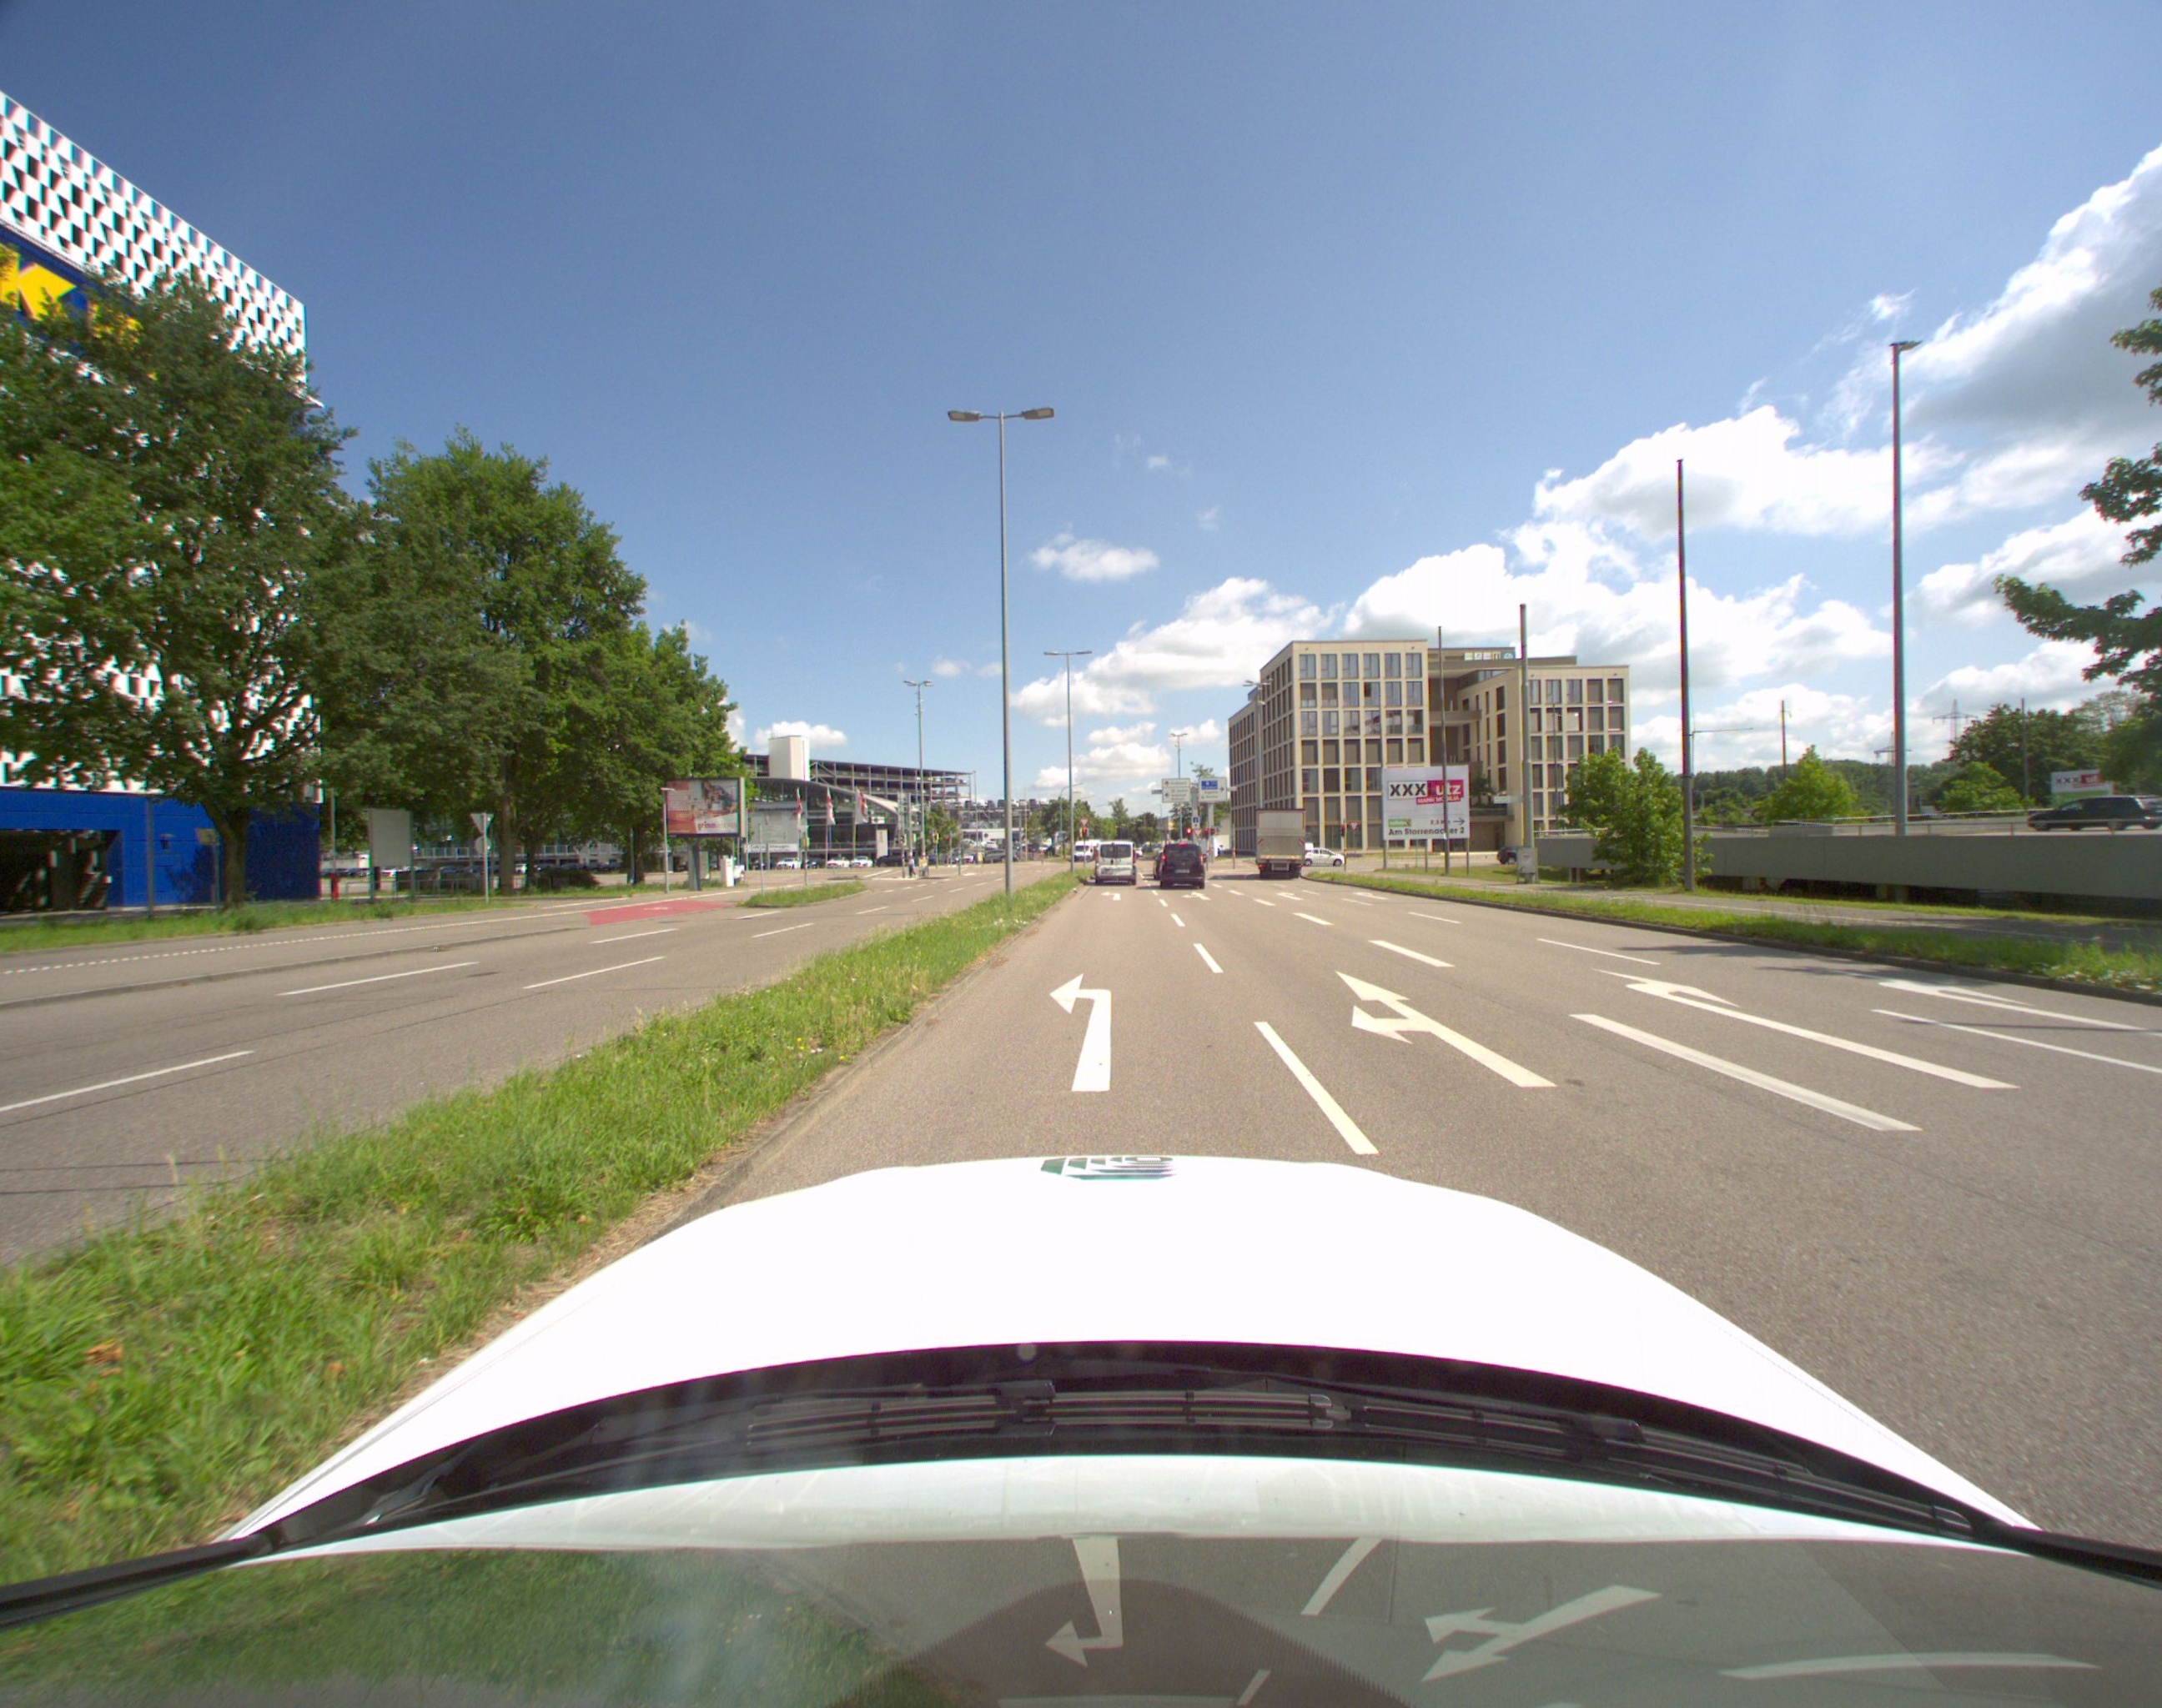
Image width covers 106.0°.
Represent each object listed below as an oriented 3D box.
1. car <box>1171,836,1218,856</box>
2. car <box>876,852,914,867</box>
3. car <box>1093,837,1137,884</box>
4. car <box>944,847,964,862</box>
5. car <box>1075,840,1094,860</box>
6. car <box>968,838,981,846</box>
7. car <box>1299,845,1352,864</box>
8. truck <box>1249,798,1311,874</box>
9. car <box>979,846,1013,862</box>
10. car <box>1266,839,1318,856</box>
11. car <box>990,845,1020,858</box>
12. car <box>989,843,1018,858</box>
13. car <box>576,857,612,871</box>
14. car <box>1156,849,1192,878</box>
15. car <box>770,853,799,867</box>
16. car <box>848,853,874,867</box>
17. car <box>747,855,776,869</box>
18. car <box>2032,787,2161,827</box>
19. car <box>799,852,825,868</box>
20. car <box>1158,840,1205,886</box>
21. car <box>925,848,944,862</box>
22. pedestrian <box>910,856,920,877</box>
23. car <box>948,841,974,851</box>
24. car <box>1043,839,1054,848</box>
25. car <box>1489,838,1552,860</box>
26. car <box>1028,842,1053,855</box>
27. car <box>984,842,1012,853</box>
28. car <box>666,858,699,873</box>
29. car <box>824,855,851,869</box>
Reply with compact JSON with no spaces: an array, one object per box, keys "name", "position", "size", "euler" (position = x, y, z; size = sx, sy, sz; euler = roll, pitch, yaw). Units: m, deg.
[{"name":"car","position":[13.428,-0.913,96.434],"size":[2.011,2.255,5.447],"euler":[-2,1,-44]},{"name":"car","position":[-20.740,0.617,90.916],"size":[3.783,1.513,1.678],"euler":[-1,1,-3]},{"name":"car","position":[1.628,0.287,37.596],"size":[1.847,2.018,4.005],"euler":[0,0,5]},{"name":"car","position":[-14.326,0.040,91.686],"size":[1.820,1.552,3.981],"euler":[-1,0,-14]},{"name":"car","position":[0.423,-0.529,98.832],"size":[1.964,2.256,4.984],"euler":[-3,1,2]},{"name":"car","position":[-19.604,-2.263,150.318],"size":[1.841,1.530,3.998],"euler":[-1,1,-2]},{"name":"car","position":[19.721,0.011,65.797],"size":[3.836,1.466,1.697],"euler":[-1,1,2]},{"name":"truck","position":[11.454,-0.917,46.964],"size":[3.107,3.940,8.891],"euler":[-1,0,14]},{"name":"car","position":[-10.037,0.026,96.479],"size":[3.850,1.639,1.857],"euler":[-3,1,-1]},{"name":"car","position":[22.284,-0.703,86.150],"size":[4.967,1.607,2.000],"euler":[-1,1,0]},{"name":"car","position":[-10.647,-0.340,114.329],"size":[3.901,1.712,1.688],"euler":[-3,1,-1]},{"name":"car","position":[-10.076,-0.448,106.186],"size":[3.498,1.712,1.603],"euler":[-3,1,-1]},{"name":"car","position":[-54.337,1.088,90.932],"size":[1.722,1.486,3.700],"euler":[-1,1,-1]},{"name":"car","position":[4.920,0.485,43.458],"size":[1.733,1.495,4.004],"euler":[0,0,4]},{"name":"car","position":[-33.040,0.637,90.863],"size":[1.873,1.486,3.700],"euler":[-1,1,-1]},{"name":"car","position":[-24.613,0.674,91.248],"size":[1.771,1.450,4.028],"euler":[-1,1,-1]},{"name":"car","position":[-35.540,0.853,90.673],"size":[1.722,1.486,3.700],"euler":[-1,1,-1]},{"name":"car","position":[45.268,-2.043,35.993],"size":[1.865,1.521,3.864],"euler":[-1,0,-2]},{"name":"car","position":[-29.917,0.685,90.732],"size":[1.752,1.660,3.615],"euler":[-1,1,-1]},{"name":"car","position":[4.142,0.334,33.810],"size":[1.811,1.808,4.007],"euler":[0,0,6]},{"name":"car","position":[-16.430,0.120,91.109],"size":[1.820,1.552,3.981],"euler":[-1,0,-14]},{"name":"pedestrian","position":[-11.674,0.871,57.299],"size":[0.464,1.512,0.515],"euler":[-1,0,28]},{"name":"car","position":[-20.033,-1.312,135.814],"size":[4.156,1.713,1.687],"euler":[-1,0,-3]},{"name":"car","position":[-5.956,-1.982,148.802],"size":[1.841,1.530,3.998],"euler":[-1,1,-2]},{"name":"car","position":[34.559,-0.366,64.128],"size":[4.115,1.503,1.632],"euler":[-2,1,13]},{"name":"car","position":[-6.356,-0.863,128.007],"size":[3.979,1.925,1.824],"euler":[-1,0,-4]},{"name":"car","position":[-12.950,-1.071,127.294],"size":[4.156,1.712,1.687],"euler":[0,1,-4]},{"name":"car","position":[-43.454,1.263,88.874],"size":[1.832,1.487,3.698],"euler":[-1,1,-2]},{"name":"car","position":[-27.199,0.885,90.979],"size":[1.902,1.375,3.751],"euler":[-1,1,-1]}]
